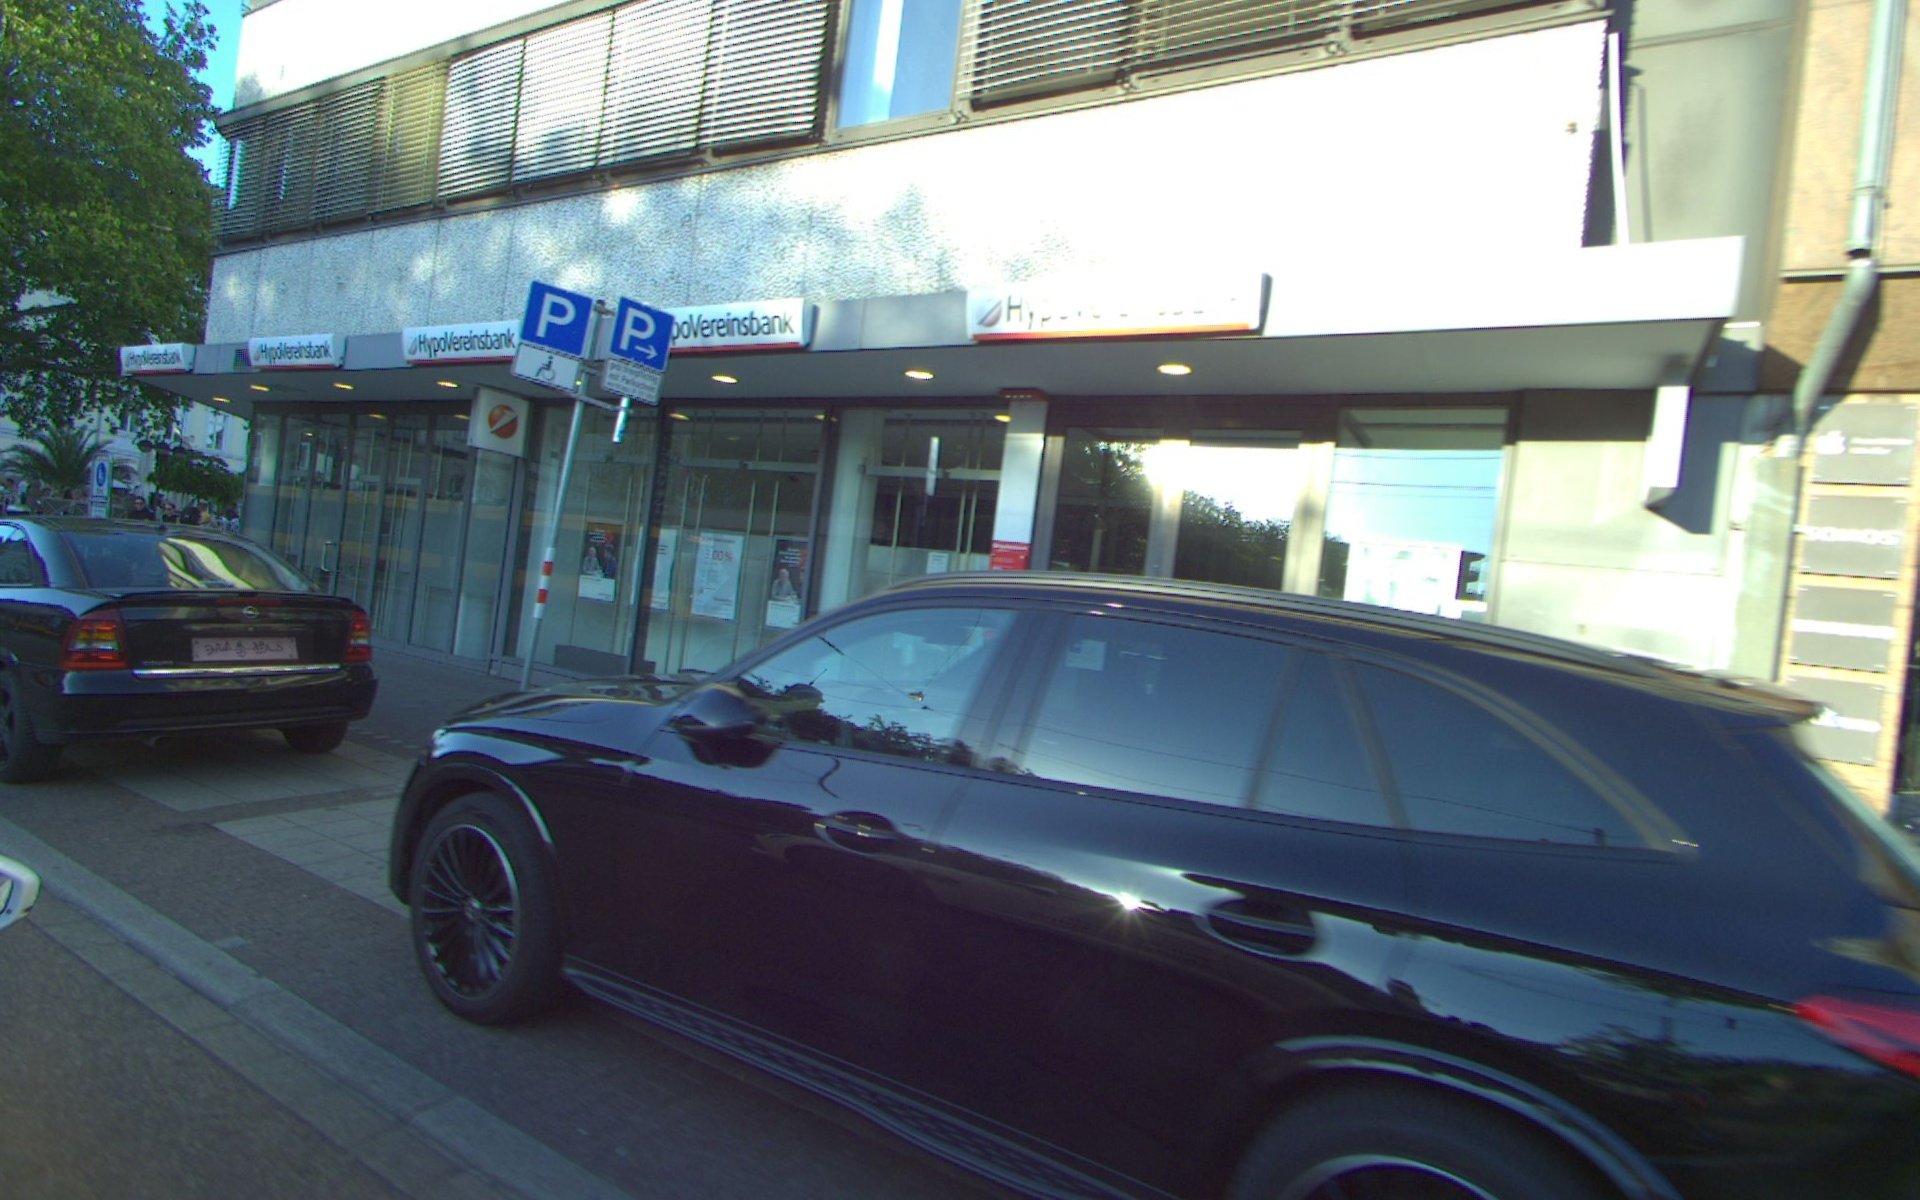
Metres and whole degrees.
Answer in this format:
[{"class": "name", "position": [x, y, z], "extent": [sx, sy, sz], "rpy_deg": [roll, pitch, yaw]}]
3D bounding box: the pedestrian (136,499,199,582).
[{"class": "pedestrian", "position": [-18.043, -1.338, 22.921], "extent": [0.647, 1.744, 0.823], "rpy_deg": [5, -1, -7]}]

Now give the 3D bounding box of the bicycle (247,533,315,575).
[{"class": "bicycle", "position": [-26.045, -1.757, 38.605], "extent": [2.080, 1.307, 0.442], "rpy_deg": [9, 1, -4]}]

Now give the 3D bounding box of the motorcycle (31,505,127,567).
[{"class": "motorcycle", "position": [-22.531, -1.623, 25.735], "extent": [1.920, 1.297, 0.563], "rpy_deg": [7, -1, 5]}]

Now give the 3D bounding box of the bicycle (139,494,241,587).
[{"class": "bicycle", "position": [-16.341, -1.214, 21.423], "extent": [0.593, 1.760, 2.363], "rpy_deg": [7, -1, -12]}]

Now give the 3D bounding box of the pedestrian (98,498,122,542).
[{"class": "pedestrian", "position": [-26.700, -2.507, 31.591], "extent": [0.472, 1.300, 0.534], "rpy_deg": [6, -1, -42]}]

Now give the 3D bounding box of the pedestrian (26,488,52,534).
[{"class": "pedestrian", "position": [-27.414, -2.633, 29.952], "extent": [0.472, 1.300, 0.534], "rpy_deg": [6, -1, -42]}]

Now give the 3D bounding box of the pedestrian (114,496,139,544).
[{"class": "pedestrian", "position": [-25.839, -2.481, 31.179], "extent": [0.472, 1.416, 0.534], "rpy_deg": [6, -1, -42]}]

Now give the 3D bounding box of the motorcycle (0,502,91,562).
[{"class": "motorcycle", "position": [-22.703, -1.685, 24.945], "extent": [1.764, 1.164, 0.553], "rpy_deg": [9, 0, 5]}]

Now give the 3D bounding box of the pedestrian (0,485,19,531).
[{"class": "pedestrian", "position": [-28.108, -2.708, 29.635], "extent": [0.472, 1.300, 0.534], "rpy_deg": [6, -1, -42]}]

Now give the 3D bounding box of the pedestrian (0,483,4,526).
[{"class": "pedestrian", "position": [-27.453, -2.672, 28.343], "extent": [0.642, 1.300, 0.732], "rpy_deg": [6, -1, -42]}]

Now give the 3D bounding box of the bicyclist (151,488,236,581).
[{"class": "bicyclist", "position": [-16.304, -1.365, 21.423], "extent": [0.955, 1.797, 0.930], "rpy_deg": [7, 0, -12]}]

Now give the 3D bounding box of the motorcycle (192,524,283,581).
[{"class": "motorcycle", "position": [-20.294, -1.321, 28.273], "extent": [1.923, 1.297, 0.562], "rpy_deg": [7, -1, -6]}]

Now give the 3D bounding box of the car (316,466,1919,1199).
[{"class": "car", "position": [0.103, 0.629, 3.259], "extent": [4.501, 1.557, 1.778], "rpy_deg": [8, 0, 31]}]

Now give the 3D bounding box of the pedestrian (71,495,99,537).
[{"class": "pedestrian", "position": [-28.758, -2.763, 33.056], "extent": [0.469, 1.300, 0.537], "rpy_deg": [5, -1, 41]}]

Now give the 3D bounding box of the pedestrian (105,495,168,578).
[{"class": "pedestrian", "position": [-18.743, -1.421, 22.912], "extent": [0.647, 1.762, 0.823], "rpy_deg": [5, -1, -7]}]

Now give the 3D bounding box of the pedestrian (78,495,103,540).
[{"class": "pedestrian", "position": [-26.529, -2.509, 30.689], "extent": [0.472, 1.300, 0.534], "rpy_deg": [6, -1, -42]}]

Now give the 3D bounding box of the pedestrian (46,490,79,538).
[{"class": "pedestrian", "position": [-26.481, -2.535, 29.685], "extent": [0.642, 1.300, 0.732], "rpy_deg": [6, -1, -42]}]

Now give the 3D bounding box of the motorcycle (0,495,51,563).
[{"class": "motorcycle", "position": [-23.061, -1.786, 23.960], "extent": [2.254, 1.440, 0.566], "rpy_deg": [9, 0, 5]}]

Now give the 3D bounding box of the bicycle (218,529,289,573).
[{"class": "bicycle", "position": [-26.120, -1.809, 37.204], "extent": [2.080, 1.307, 0.442], "rpy_deg": [9, 1, -4]}]

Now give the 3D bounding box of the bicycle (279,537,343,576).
[{"class": "bicycle", "position": [-27.189, -1.796, 42.187], "extent": [2.091, 1.306, 0.440], "rpy_deg": [8, -1, -25]}]

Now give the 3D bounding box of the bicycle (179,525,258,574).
[{"class": "bicycle", "position": [-24.829, -1.694, 33.703], "extent": [2.080, 1.307, 0.442], "rpy_deg": [9, 1, -4]}]

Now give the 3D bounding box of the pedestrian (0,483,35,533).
[{"class": "pedestrian", "position": [-26.928, -2.610, 28.752], "extent": [0.642, 1.300, 0.732], "rpy_deg": [6, -1, -42]}]

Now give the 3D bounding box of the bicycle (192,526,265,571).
[{"class": "bicycle", "position": [-26.248, -1.836, 36.110], "extent": [2.080, 1.308, 0.442], "rpy_deg": [9, 2, -4]}]

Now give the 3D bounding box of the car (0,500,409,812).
[{"class": "car", "position": [-5.656, 0.130, 6.595], "extent": [4.269, 1.399, 1.655], "rpy_deg": [7, 3, 32]}]
